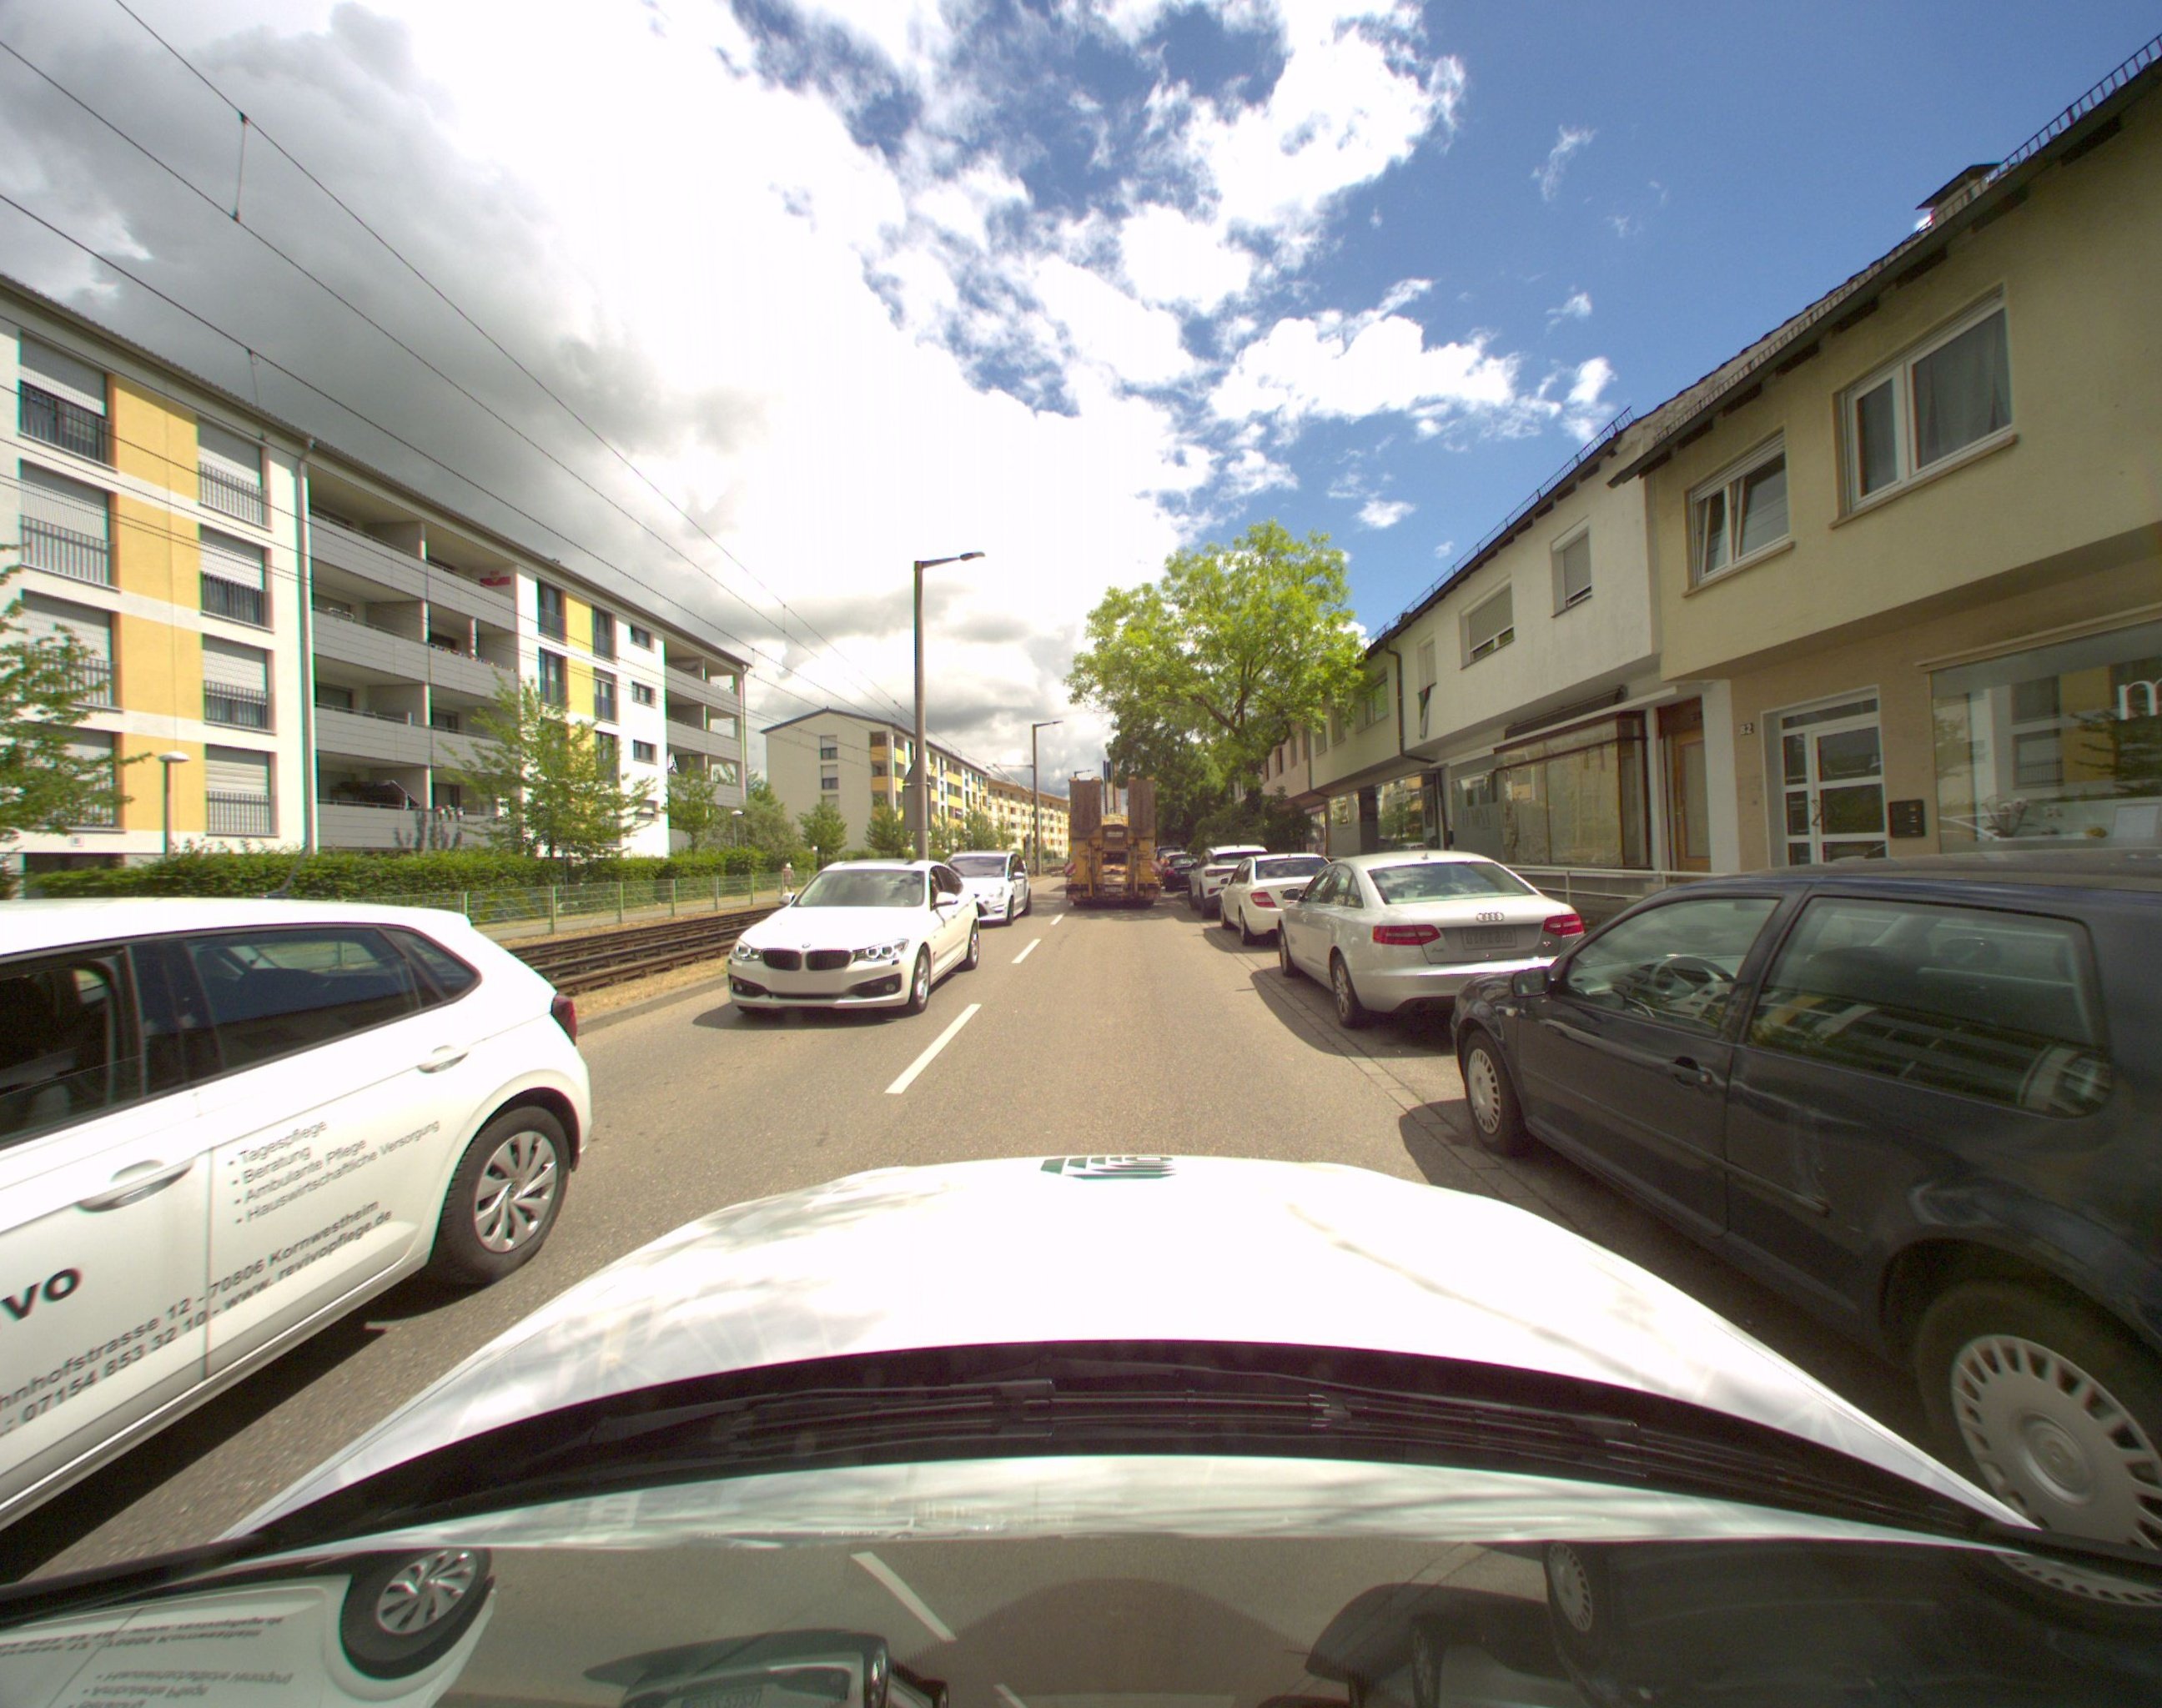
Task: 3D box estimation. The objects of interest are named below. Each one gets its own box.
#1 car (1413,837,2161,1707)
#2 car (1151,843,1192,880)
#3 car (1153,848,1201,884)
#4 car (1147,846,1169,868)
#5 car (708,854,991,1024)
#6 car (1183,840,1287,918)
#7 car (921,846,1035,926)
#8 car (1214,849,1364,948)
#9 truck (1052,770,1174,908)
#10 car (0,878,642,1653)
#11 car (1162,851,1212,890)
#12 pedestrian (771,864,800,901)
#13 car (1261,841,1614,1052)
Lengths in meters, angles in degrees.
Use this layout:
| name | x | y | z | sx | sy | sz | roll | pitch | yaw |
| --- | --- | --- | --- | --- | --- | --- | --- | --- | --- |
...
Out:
| name | x | y | z | sx | sy | sz | roll | pitch | yaw |
| --- | --- | --- | --- | --- | --- | --- | --- | --- | --- |
| car | 2.764 | 0.697 | 2.872 | 1.805 | 1.463 | 4.046 | -1 | 0 | 5 |
| car | 4.823 | 0.377 | 44.092 | 2.006 | 1.788 | 5.082 | -2 | 0 | 4 |
| car | 4.385 | 0.540 | 37.845 | 1.765 | 1.442 | 3.900 | -4 | 0 | 1 |
| car | 7.368 | 0.250 | 78.444 | 1.906 | 1.958 | 5.750 | -2 | 0 | 3 |
| car | -2.316 | 0.755 | 9.625 | 1.810 | 1.502 | 4.839 | 0 | 0 | 2 |
| car | 3.594 | 0.536 | 19.734 | 1.830 | 1.643 | 4.432 | -1 | 0 | 2 |
| car | -2.219 | 0.654 | 18.795 | 1.810 | 1.614 | 4.605 | 0 | 0 | 3 |
| car | 3.450 | 0.660 | 14.329 | 1.717 | 1.426 | 4.450 | -1 | 0 | 3 |
| truck | 1.063 | -0.399 | 27.612 | 3.112 | 3.564 | 12.465 | -1 | 0 | 2 |
| car | -2.937 | 0.838 | 1.772 | 1.740 | 1.406 | 3.941 | -1 | 0 | 1 |
| car | 4.200 | 0.600 | 32.545 | 1.762 | 1.349 | 4.008 | -4 | 0 | 7 |
| pedestrian | -12.254 | 1.172 | 33.823 | 0.793 | 1.483 | 0.996 | -1 | 0 | 2 |
| car | 3.108 | 0.672 | 8.349 | 1.805 | 1.498 | 4.917 | -1 | 0 | 5 |
